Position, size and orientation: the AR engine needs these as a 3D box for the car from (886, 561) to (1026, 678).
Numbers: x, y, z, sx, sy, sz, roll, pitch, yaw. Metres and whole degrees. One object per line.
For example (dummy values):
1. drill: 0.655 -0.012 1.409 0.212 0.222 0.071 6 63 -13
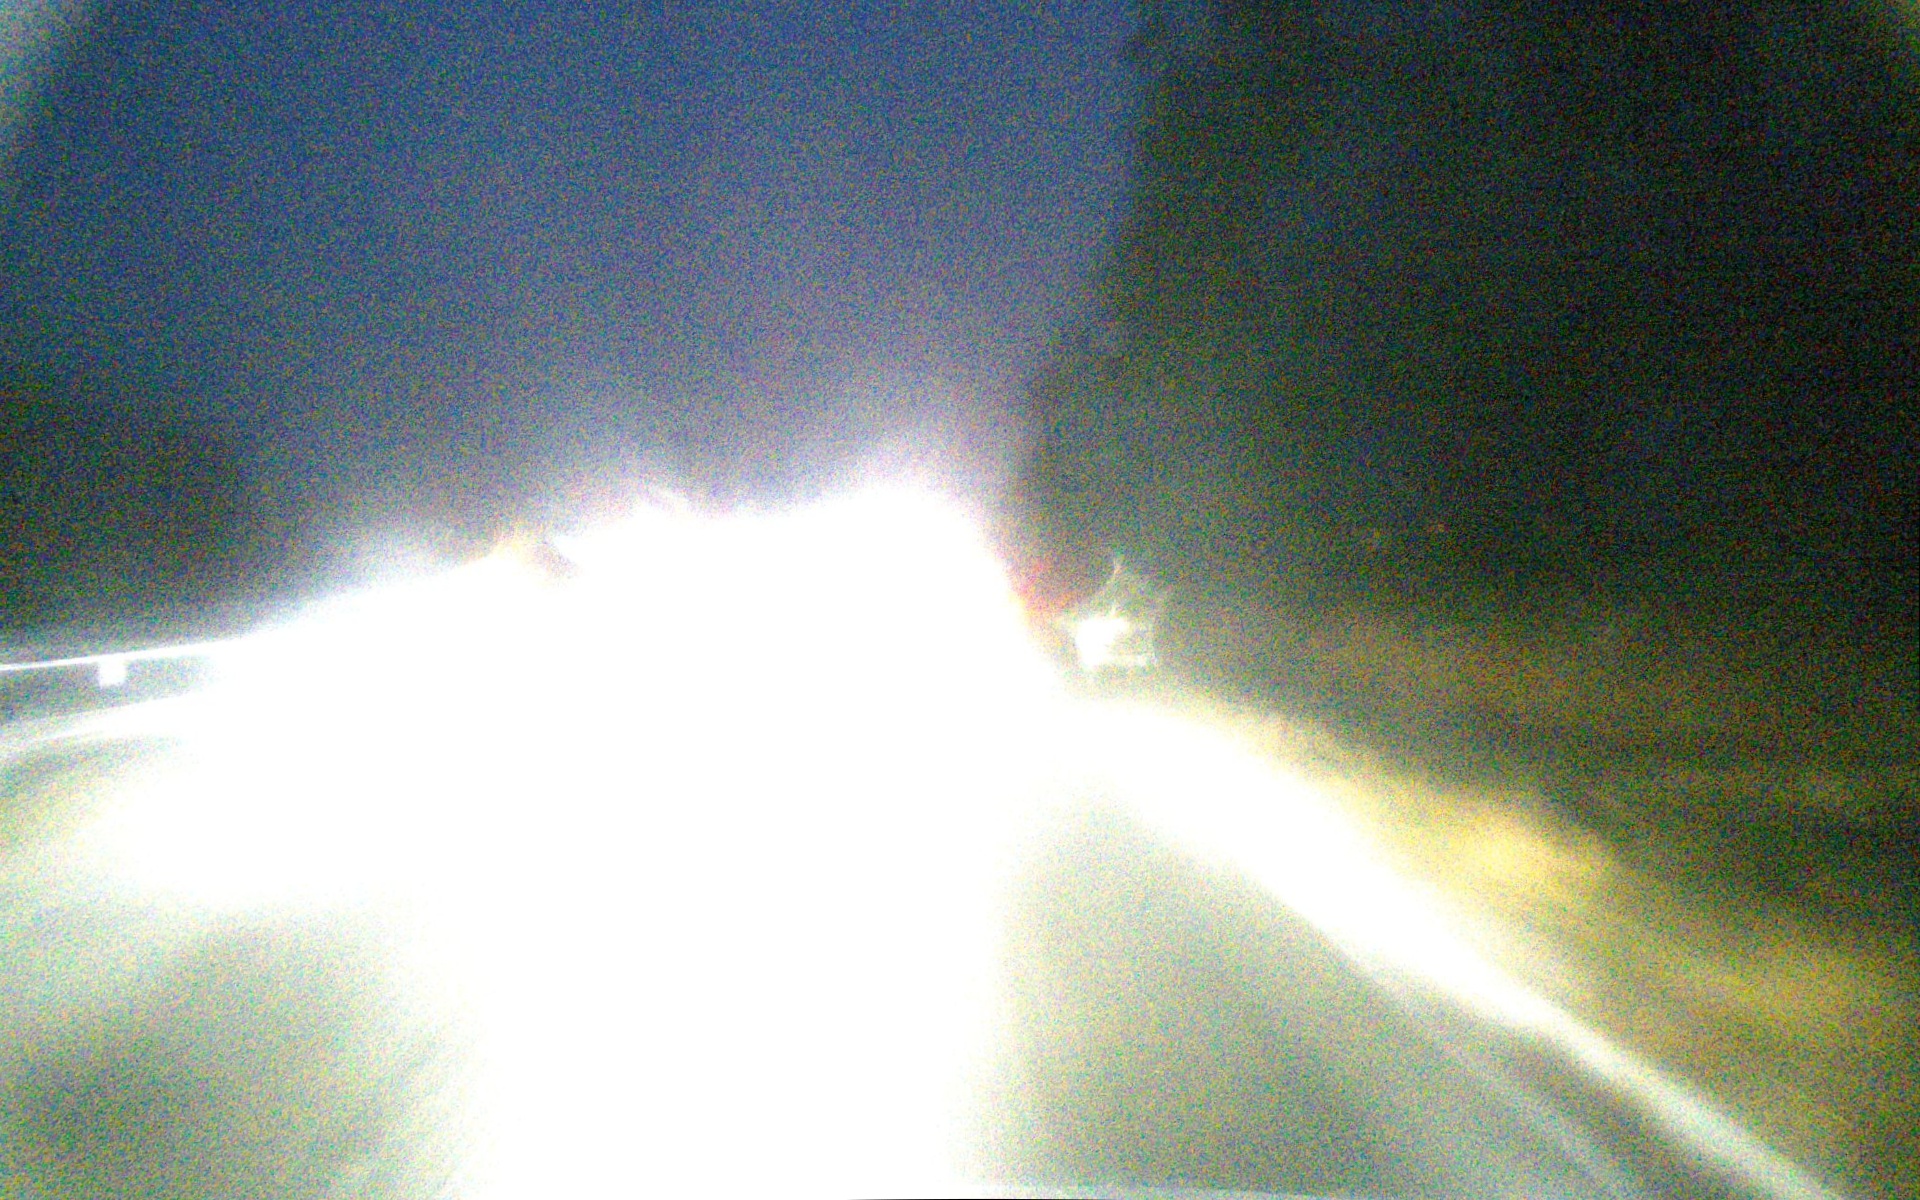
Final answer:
1. car: -0.071 0.329 31.728 2.407 1.992 4.911 2 0 0

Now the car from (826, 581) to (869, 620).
1. car: -5.108 0.001 75.323 1.768 1.656 4.405 -1 1 -2

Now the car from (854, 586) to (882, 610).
1. car: -6.299 -0.178 114.009 1.729 1.546 4.489 -2 1 -1
